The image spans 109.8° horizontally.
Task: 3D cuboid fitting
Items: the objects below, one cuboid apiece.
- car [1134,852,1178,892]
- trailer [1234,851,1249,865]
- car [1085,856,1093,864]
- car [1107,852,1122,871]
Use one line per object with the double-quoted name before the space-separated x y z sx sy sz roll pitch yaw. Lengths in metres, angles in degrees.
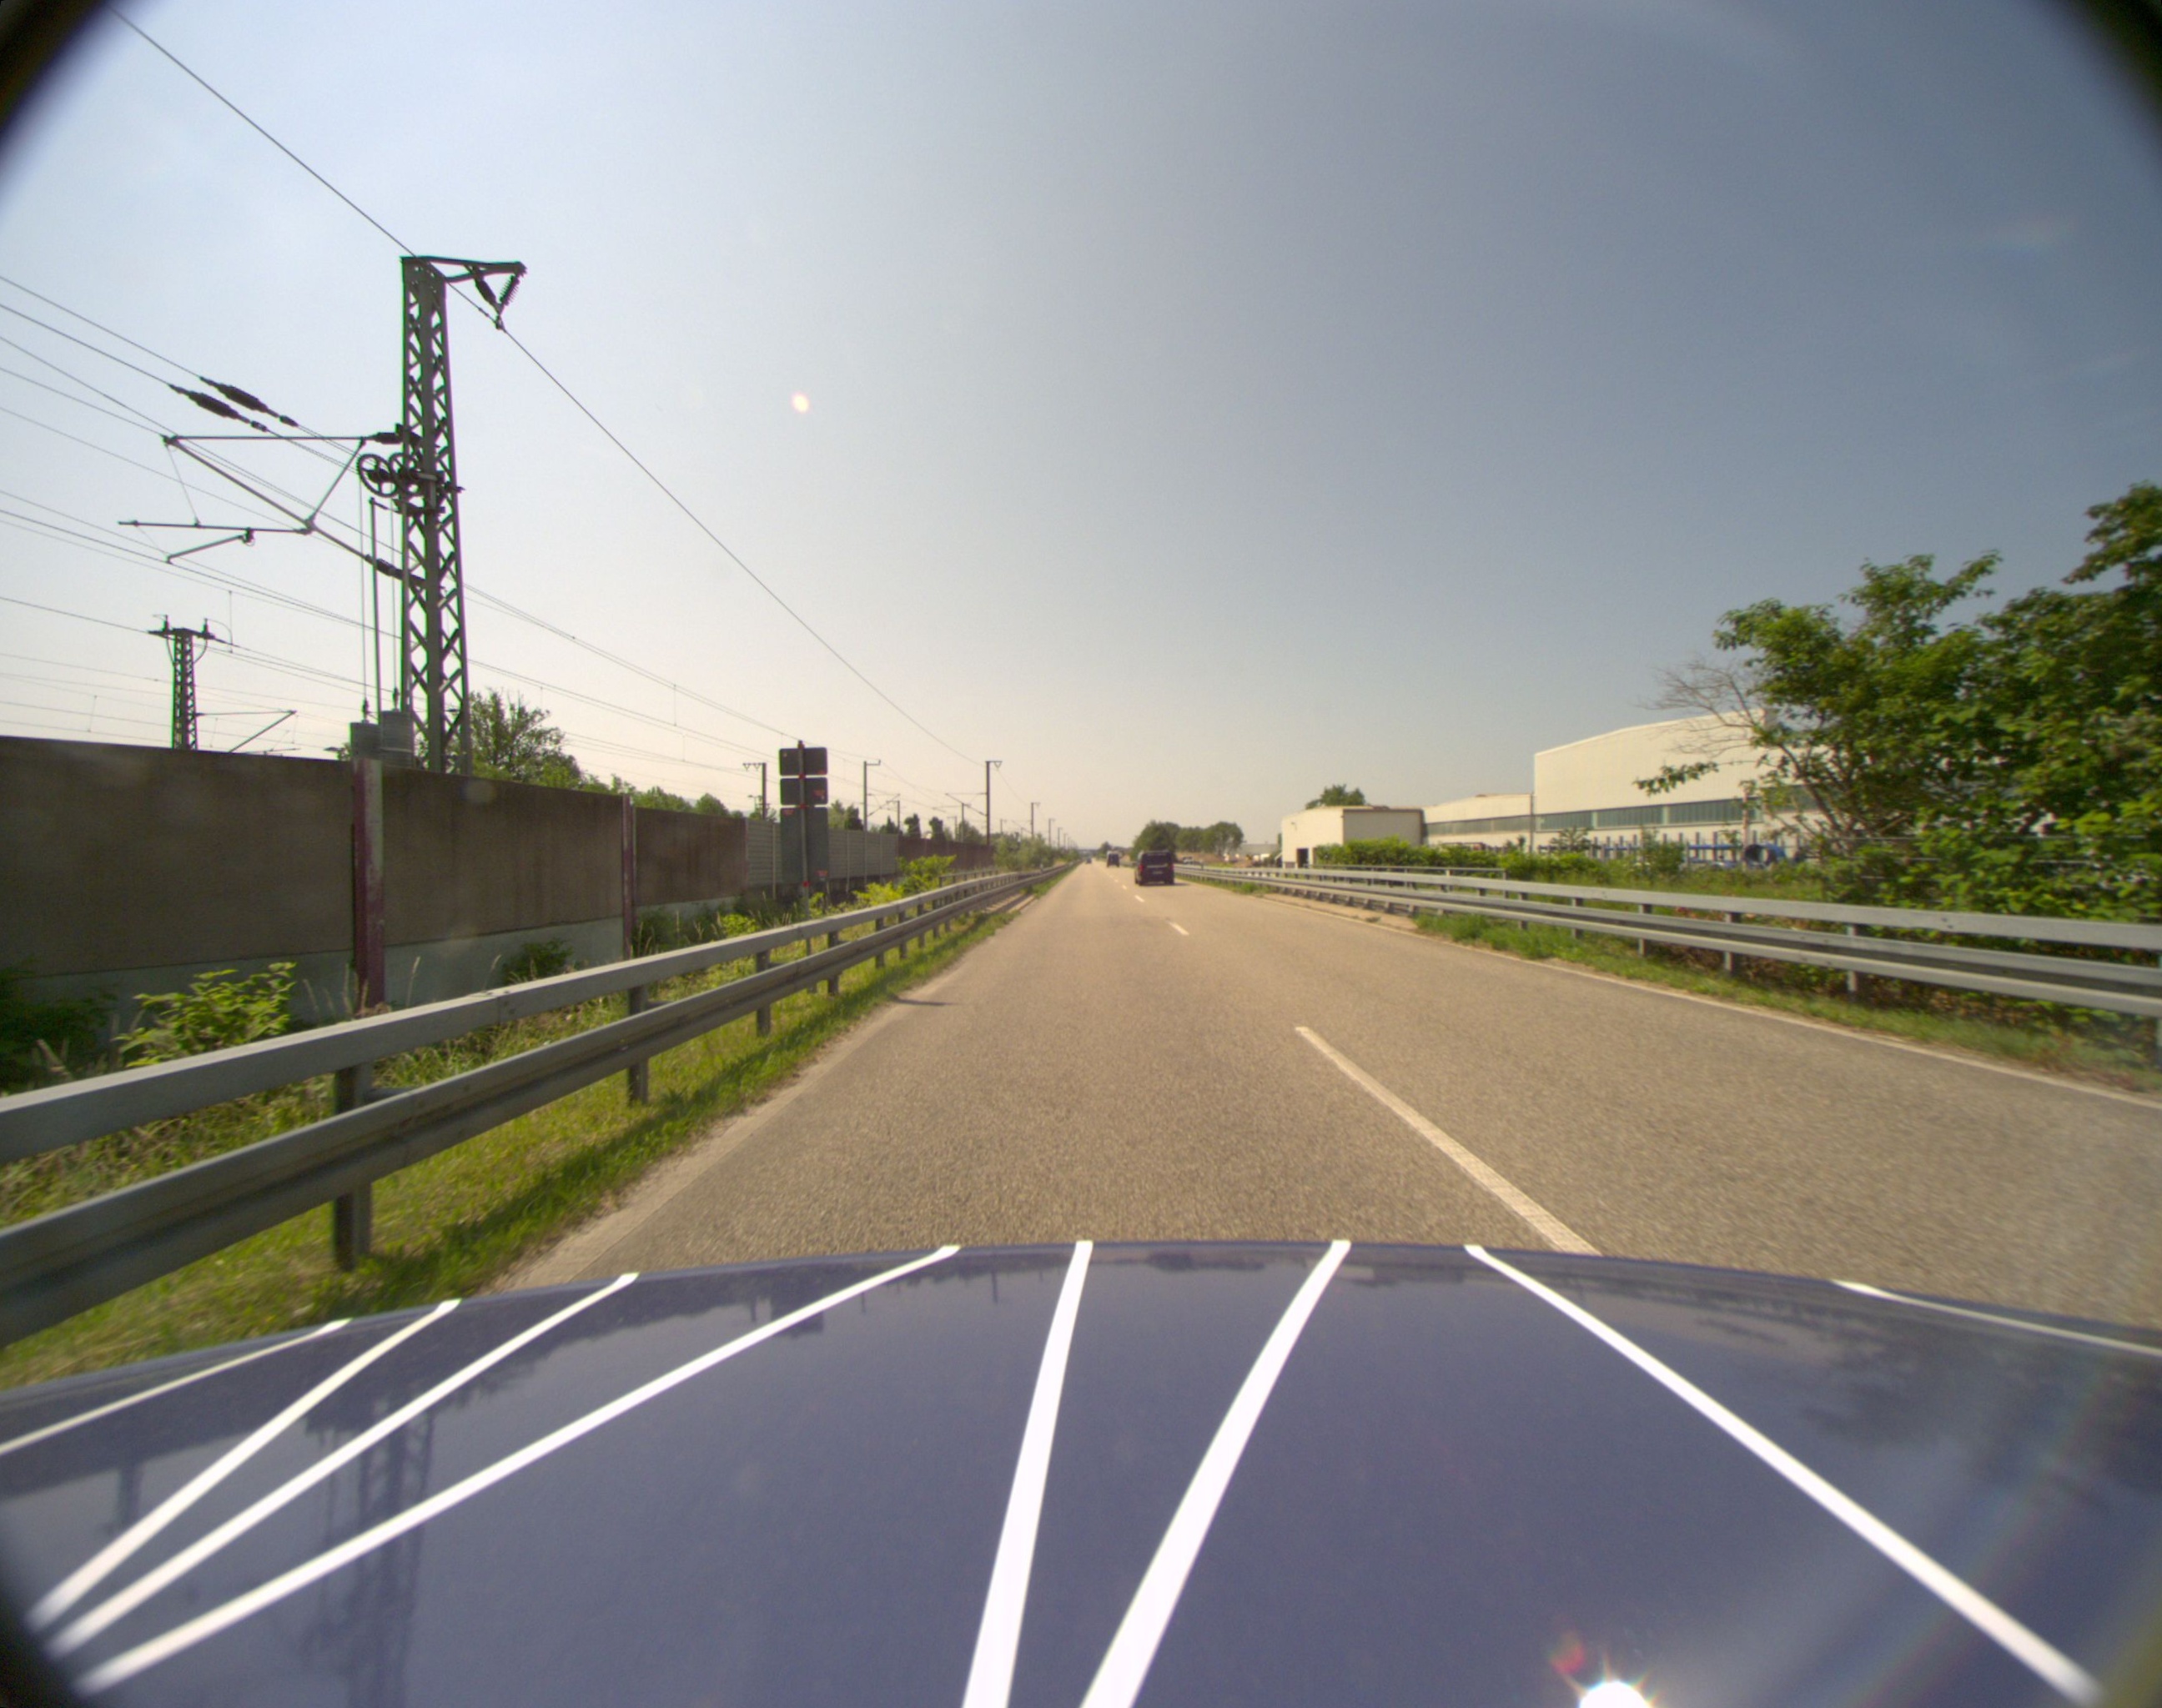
"car" 4.105 0.920 42.274 1.898 2.002 5.369 -2 0 0
"trailer" 51.666 1.386 244.720 2.862 4.193 7.538 -2 -1 -2
"car" 2.125 1.627 208.407 1.999 2.002 3.999 -2 0 -1
"car" 5.394 1.120 123.577 2.084 2.945 6.729 -2 0 1
